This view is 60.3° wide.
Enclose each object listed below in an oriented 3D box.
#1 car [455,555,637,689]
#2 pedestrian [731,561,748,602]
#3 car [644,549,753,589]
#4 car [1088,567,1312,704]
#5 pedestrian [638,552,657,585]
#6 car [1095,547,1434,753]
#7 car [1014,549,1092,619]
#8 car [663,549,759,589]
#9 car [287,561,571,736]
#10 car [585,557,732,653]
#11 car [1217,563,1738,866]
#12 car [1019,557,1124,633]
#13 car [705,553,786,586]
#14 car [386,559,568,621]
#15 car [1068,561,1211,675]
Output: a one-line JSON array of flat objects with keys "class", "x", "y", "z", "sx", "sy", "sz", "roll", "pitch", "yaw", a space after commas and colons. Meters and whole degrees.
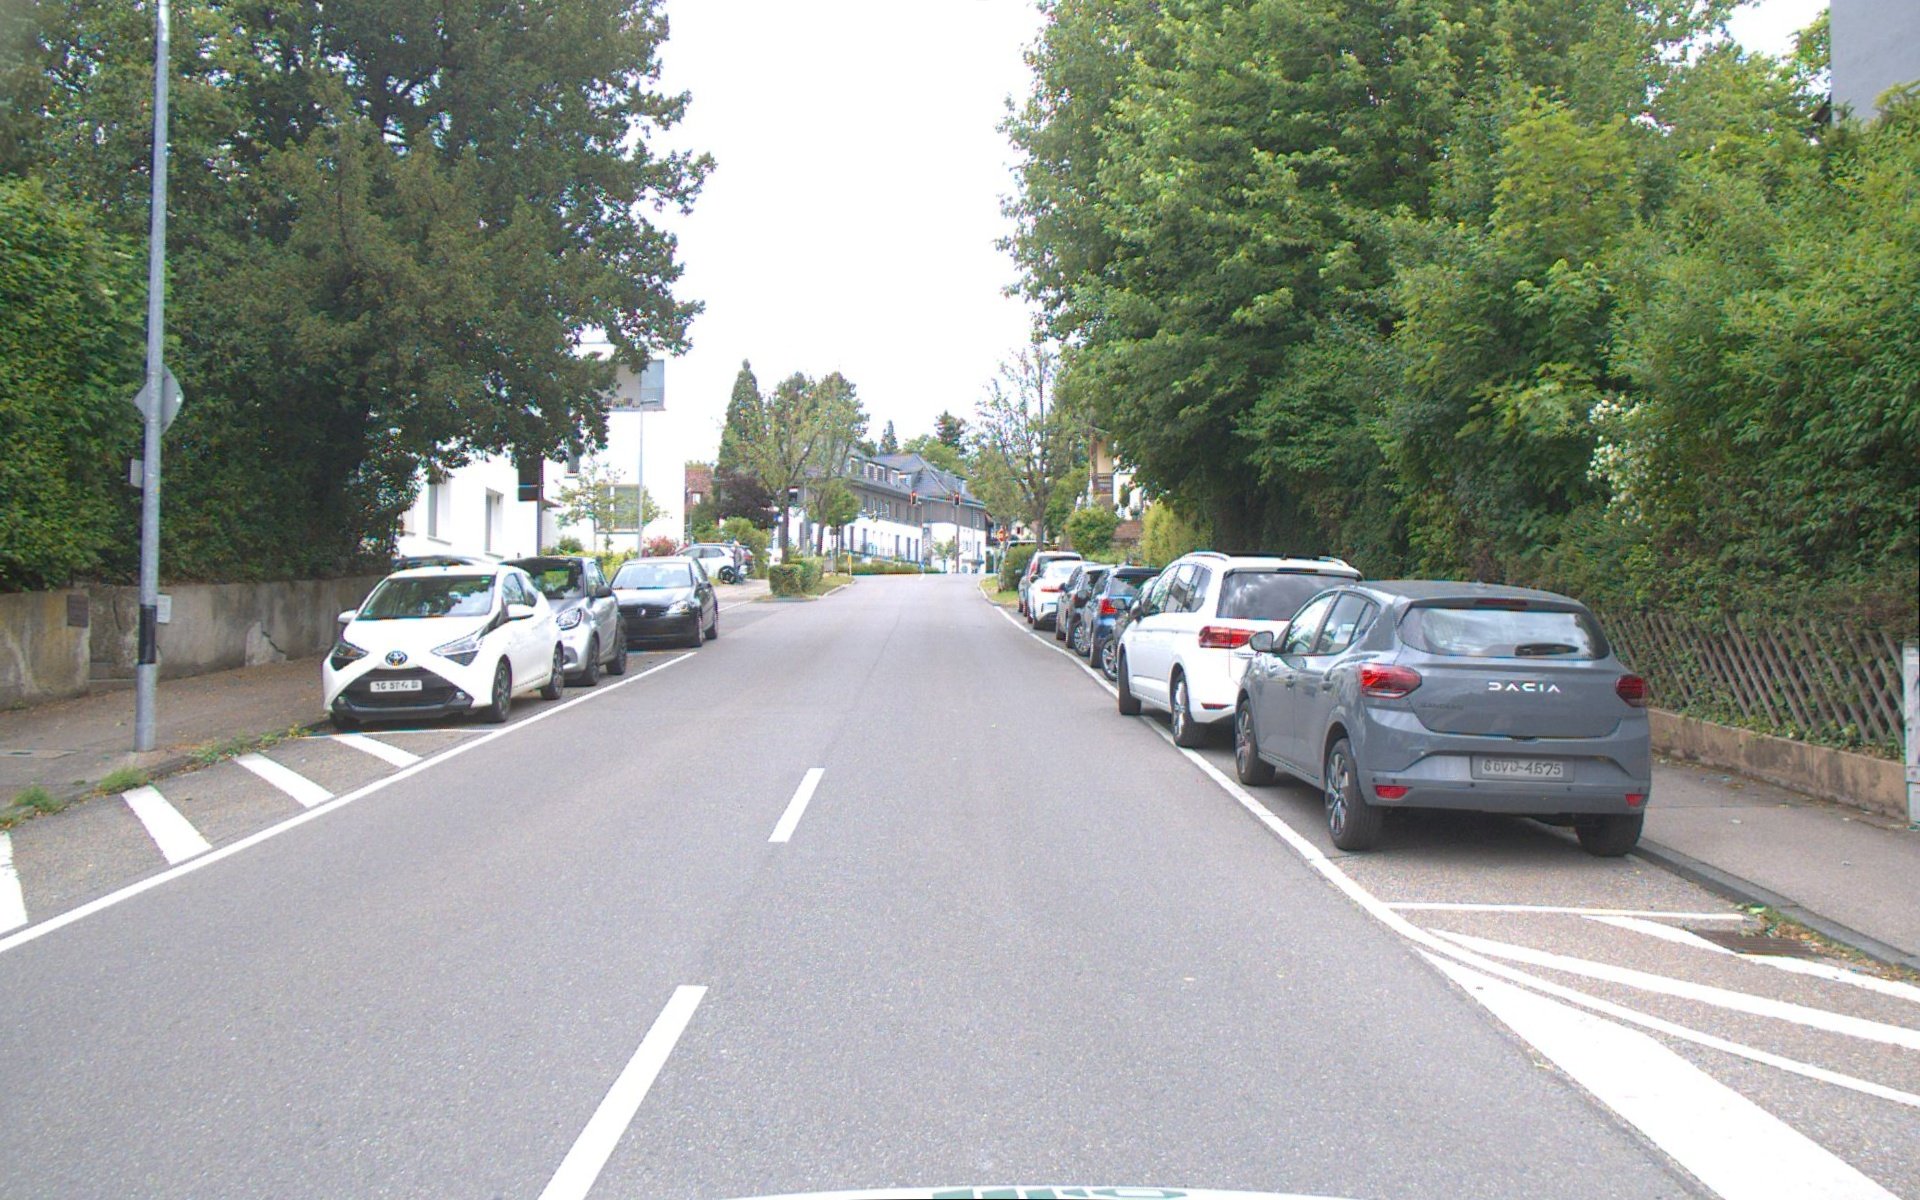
[{"class": "car", "x": -5.077, "y": 0.232, "z": 20.628, "sx": 1.591, "sy": 1.545, "sz": 2.975, "roll": 0, "pitch": 1, "yaw": -2}, {"class": "pedestrian", "x": -9.078, "y": -0.782, "z": 68.170, "sx": 0.581, "sy": 1.669, "sz": 0.565, "roll": -1, "pitch": 1, "yaw": 0}, {"class": "car", "x": -11.013, "y": -1.312, "z": 69.825, "sx": 4.298, "sy": 1.593, "sz": 2.066, "roll": -1, "pitch": 1, "yaw": -2}, {"class": "car", "x": 2.826, "y": 0.349, "z": 20.443, "sx": 1.774, "sy": 1.478, "sz": 4.374, "roll": -1, "pitch": 1, "yaw": -5}, {"class": "pedestrian", "x": -12.754, "y": -1.280, "z": 67.533, "sx": 0.594, "sy": 1.305, "sz": 0.899, "roll": 1, "pitch": 1, "yaw": -1}, {"class": "car", "x": 2.673, "y": 0.332, "z": 15.767, "sx": 1.962, "sy": 1.636, "sz": 4.754, "roll": -1, "pitch": 2, "yaw": -5}, {"class": "car", "x": 2.336, "y": -0.431, "z": 42.472, "sx": 1.682, "sy": 1.660, "sz": 3.928, "roll": 2, "pitch": 1, "yaw": -1}, {"class": "car", "x": -10.888, "y": -1.376, "z": 72.470, "sx": 3.905, "sy": 1.682, "sz": 2.009, "roll": 1, "pitch": 1, "yaw": 0}, {"class": "car", "x": -5.104, "y": 0.386, "z": 16.391, "sx": 1.709, "sy": 1.473, "sz": 3.513, "roll": -2, "pitch": 1, "yaw": -2}, {"class": "car", "x": -5.088, "y": 0.021, "z": 28.474, "sx": 1.813, "sy": 1.495, "sz": 4.682, "roll": -1, "pitch": 2, "yaw": -2}, {"class": "car", "x": 3.048, "y": 0.541, "z": 10.832, "sx": 1.898, "sy": 1.517, "sz": 4.455, "roll": -1, "pitch": 2, "yaw": -2}, {"class": "car", "x": 2.368, "y": -0.168, "z": 36.185, "sx": 1.953, "sy": 1.517, "sz": 5.005, "roll": -1, "pitch": 2, "yaw": 0}, {"class": "car", "x": -11.477, "y": -1.636, "z": 88.654, "sx": 4.175, "sy": 1.651, "sz": 2.012, "roll": -1, "pitch": 0, "yaw": -4}, {"class": "car", "x": -10.931, "y": -0.254, "z": 37.637, "sx": 3.721, "sy": 1.377, "sz": 1.739, "roll": 0, "pitch": 1, "yaw": -6}, {"class": "car", "x": 2.672, "y": 0.203, "z": 25.414, "sx": 1.663, "sy": 1.534, "sz": 4.160, "roll": 2, "pitch": 1, "yaw": -1}]
